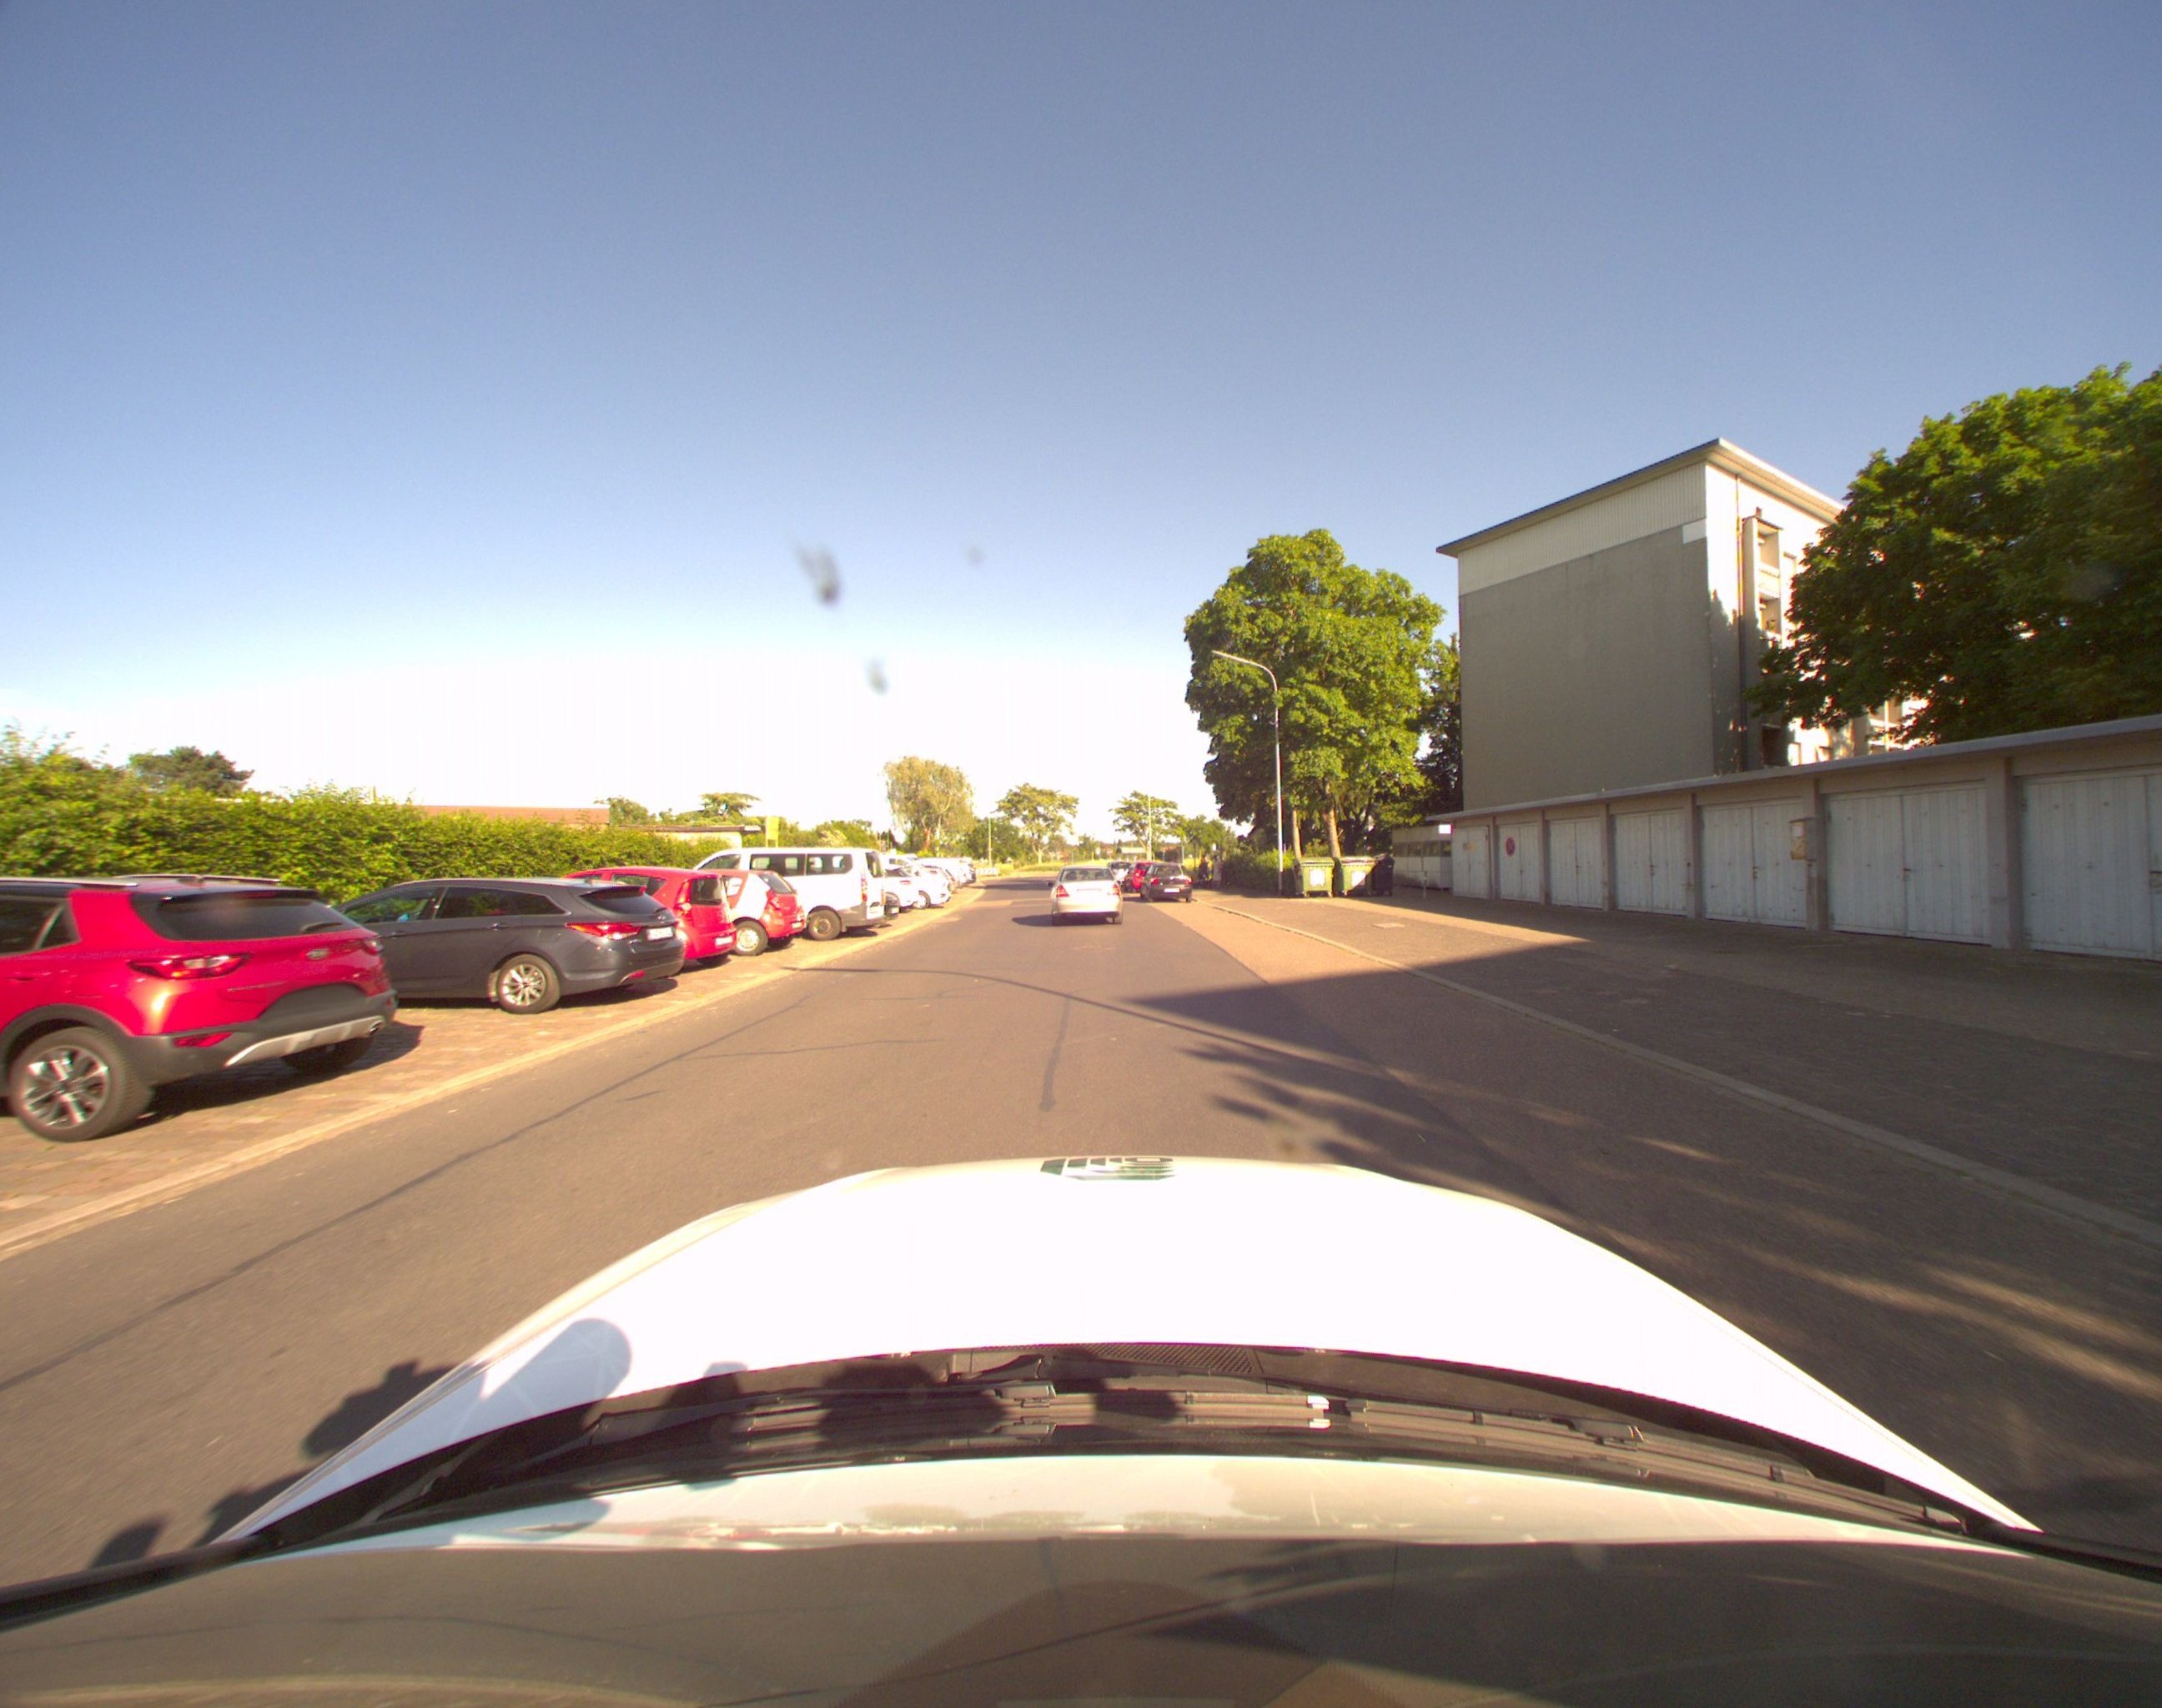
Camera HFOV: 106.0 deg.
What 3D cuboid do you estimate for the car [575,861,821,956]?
[{"bbox_3d":[-6.928,0.950,15.029,3.589,1.567,1.852,1,0,0],"label":"car"}]

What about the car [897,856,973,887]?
[{"bbox_3d":[-9.626,1.150,54.014,4.869,1.916,1.994,0,-1,-9],"label":"car"}]

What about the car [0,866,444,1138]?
[{"bbox_3d":[-7.052,0.857,5.517,3.975,1.479,1.790,1,0,-1],"label":"car"}]

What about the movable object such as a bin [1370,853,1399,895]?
[{"bbox_3d":[10.580,0.699,28.415,0.721,1.416,0.688,-1,-1,-2],"label":"movable object such as a bin"}]

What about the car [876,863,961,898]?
[{"bbox_3d":[-7.334,1.179,37.003,3.504,1.489,1.636,1,-1,-2],"label":"car"}]

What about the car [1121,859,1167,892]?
[{"bbox_3d":[2.939,1.002,38.544,1.573,1.446,3.781,0,-1,-5],"label":"car"}]

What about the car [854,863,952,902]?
[{"bbox_3d":[-7.078,1.139,32.628,3.504,1.446,1.635,1,-1,-2],"label":"car"}]

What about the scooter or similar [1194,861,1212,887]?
[{"bbox_3d":[5.851,0.952,39.138,0.621,1.227,0.904,-2,-1,-4],"label":"scooter or similar"}]

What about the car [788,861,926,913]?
[{"bbox_3d":[-7.333,1.065,26.950,3.974,1.583,1.883,1,-1,0],"label":"car"}]

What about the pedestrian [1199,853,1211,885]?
[{"bbox_3d":[6.130,0.745,40.219,0.479,1.565,0.598,-3,-2,7],"label":"pedestrian"}]

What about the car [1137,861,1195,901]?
[{"bbox_3d":[3.166,1.015,31.096,1.643,1.403,3.878,-1,-1,-2],"label":"car"}]

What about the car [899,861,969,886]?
[{"bbox_3d":[-9.224,1.208,51.438,4.131,1.492,1.922,1,-1,-6],"label":"car"}]

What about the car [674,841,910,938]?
[{"bbox_3d":[-6.288,0.772,18.146,4.465,1.977,1.999,1,-1,-1],"label":"car"}]

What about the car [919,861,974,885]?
[{"bbox_3d":[-9.347,1.310,56.712,3.605,1.607,1.730,1,-1,-4],"label":"car"}]

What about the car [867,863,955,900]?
[{"bbox_3d":[-7.244,1.173,34.899,3.509,1.489,1.633,1,0,-6],"label":"car"}]

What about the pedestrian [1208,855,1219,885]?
[{"bbox_3d":[6.637,0.791,40.669,0.361,1.503,0.499,-2,-2,-6],"label":"pedestrian"}]

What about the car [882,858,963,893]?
[{"bbox_3d":[-8.135,1.105,42.196,3.973,1.780,1.921,0,0,-7],"label":"car"}]

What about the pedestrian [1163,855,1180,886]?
[{"bbox_3d":[4.691,0.856,42.280,0.786,1.565,0.569,1,-2,-4],"label":"pedestrian"}]

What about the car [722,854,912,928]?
[{"bbox_3d":[-6.571,0.919,20.652,4.138,1.706,1.883,1,-1,0],"label":"car"}]

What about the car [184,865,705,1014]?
[{"bbox_3d":[-7.068,0.923,9.444,4.532,1.479,1.746,1,0,-3],"label":"car"}]

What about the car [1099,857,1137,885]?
[{"bbox_3d":[2.177,1.009,48.471,1.729,1.543,3.781,0,-1,-5],"label":"car"}]

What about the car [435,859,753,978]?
[{"bbox_3d":[-7.133,0.901,12.242,3.589,1.567,1.881,1,0,0],"label":"car"}]

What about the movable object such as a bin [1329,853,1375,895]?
[{"bbox_3d":[9.477,0.705,28.503,1.271,1.416,0.950,-1,-1,-2],"label":"movable object such as a bin"}]

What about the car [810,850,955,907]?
[{"bbox_3d":[-7.146,0.897,29.746,4.778,1.921,2.079,1,-1,-3],"label":"car"}]

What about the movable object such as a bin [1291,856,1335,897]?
[{"bbox_3d":[8.106,0.783,28.452,1.234,1.403,0.914,-1,-1,-2],"label":"movable object such as a bin"}]

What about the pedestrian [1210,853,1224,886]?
[{"bbox_3d":[6.507,0.752,39.077,0.485,1.565,0.468,-2,-2,-8],"label":"pedestrian"}]

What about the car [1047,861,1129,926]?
[{"bbox_3d":[0.070,0.907,20.579,1.812,1.463,4.355,0,0,-3],"label":"car"}]
